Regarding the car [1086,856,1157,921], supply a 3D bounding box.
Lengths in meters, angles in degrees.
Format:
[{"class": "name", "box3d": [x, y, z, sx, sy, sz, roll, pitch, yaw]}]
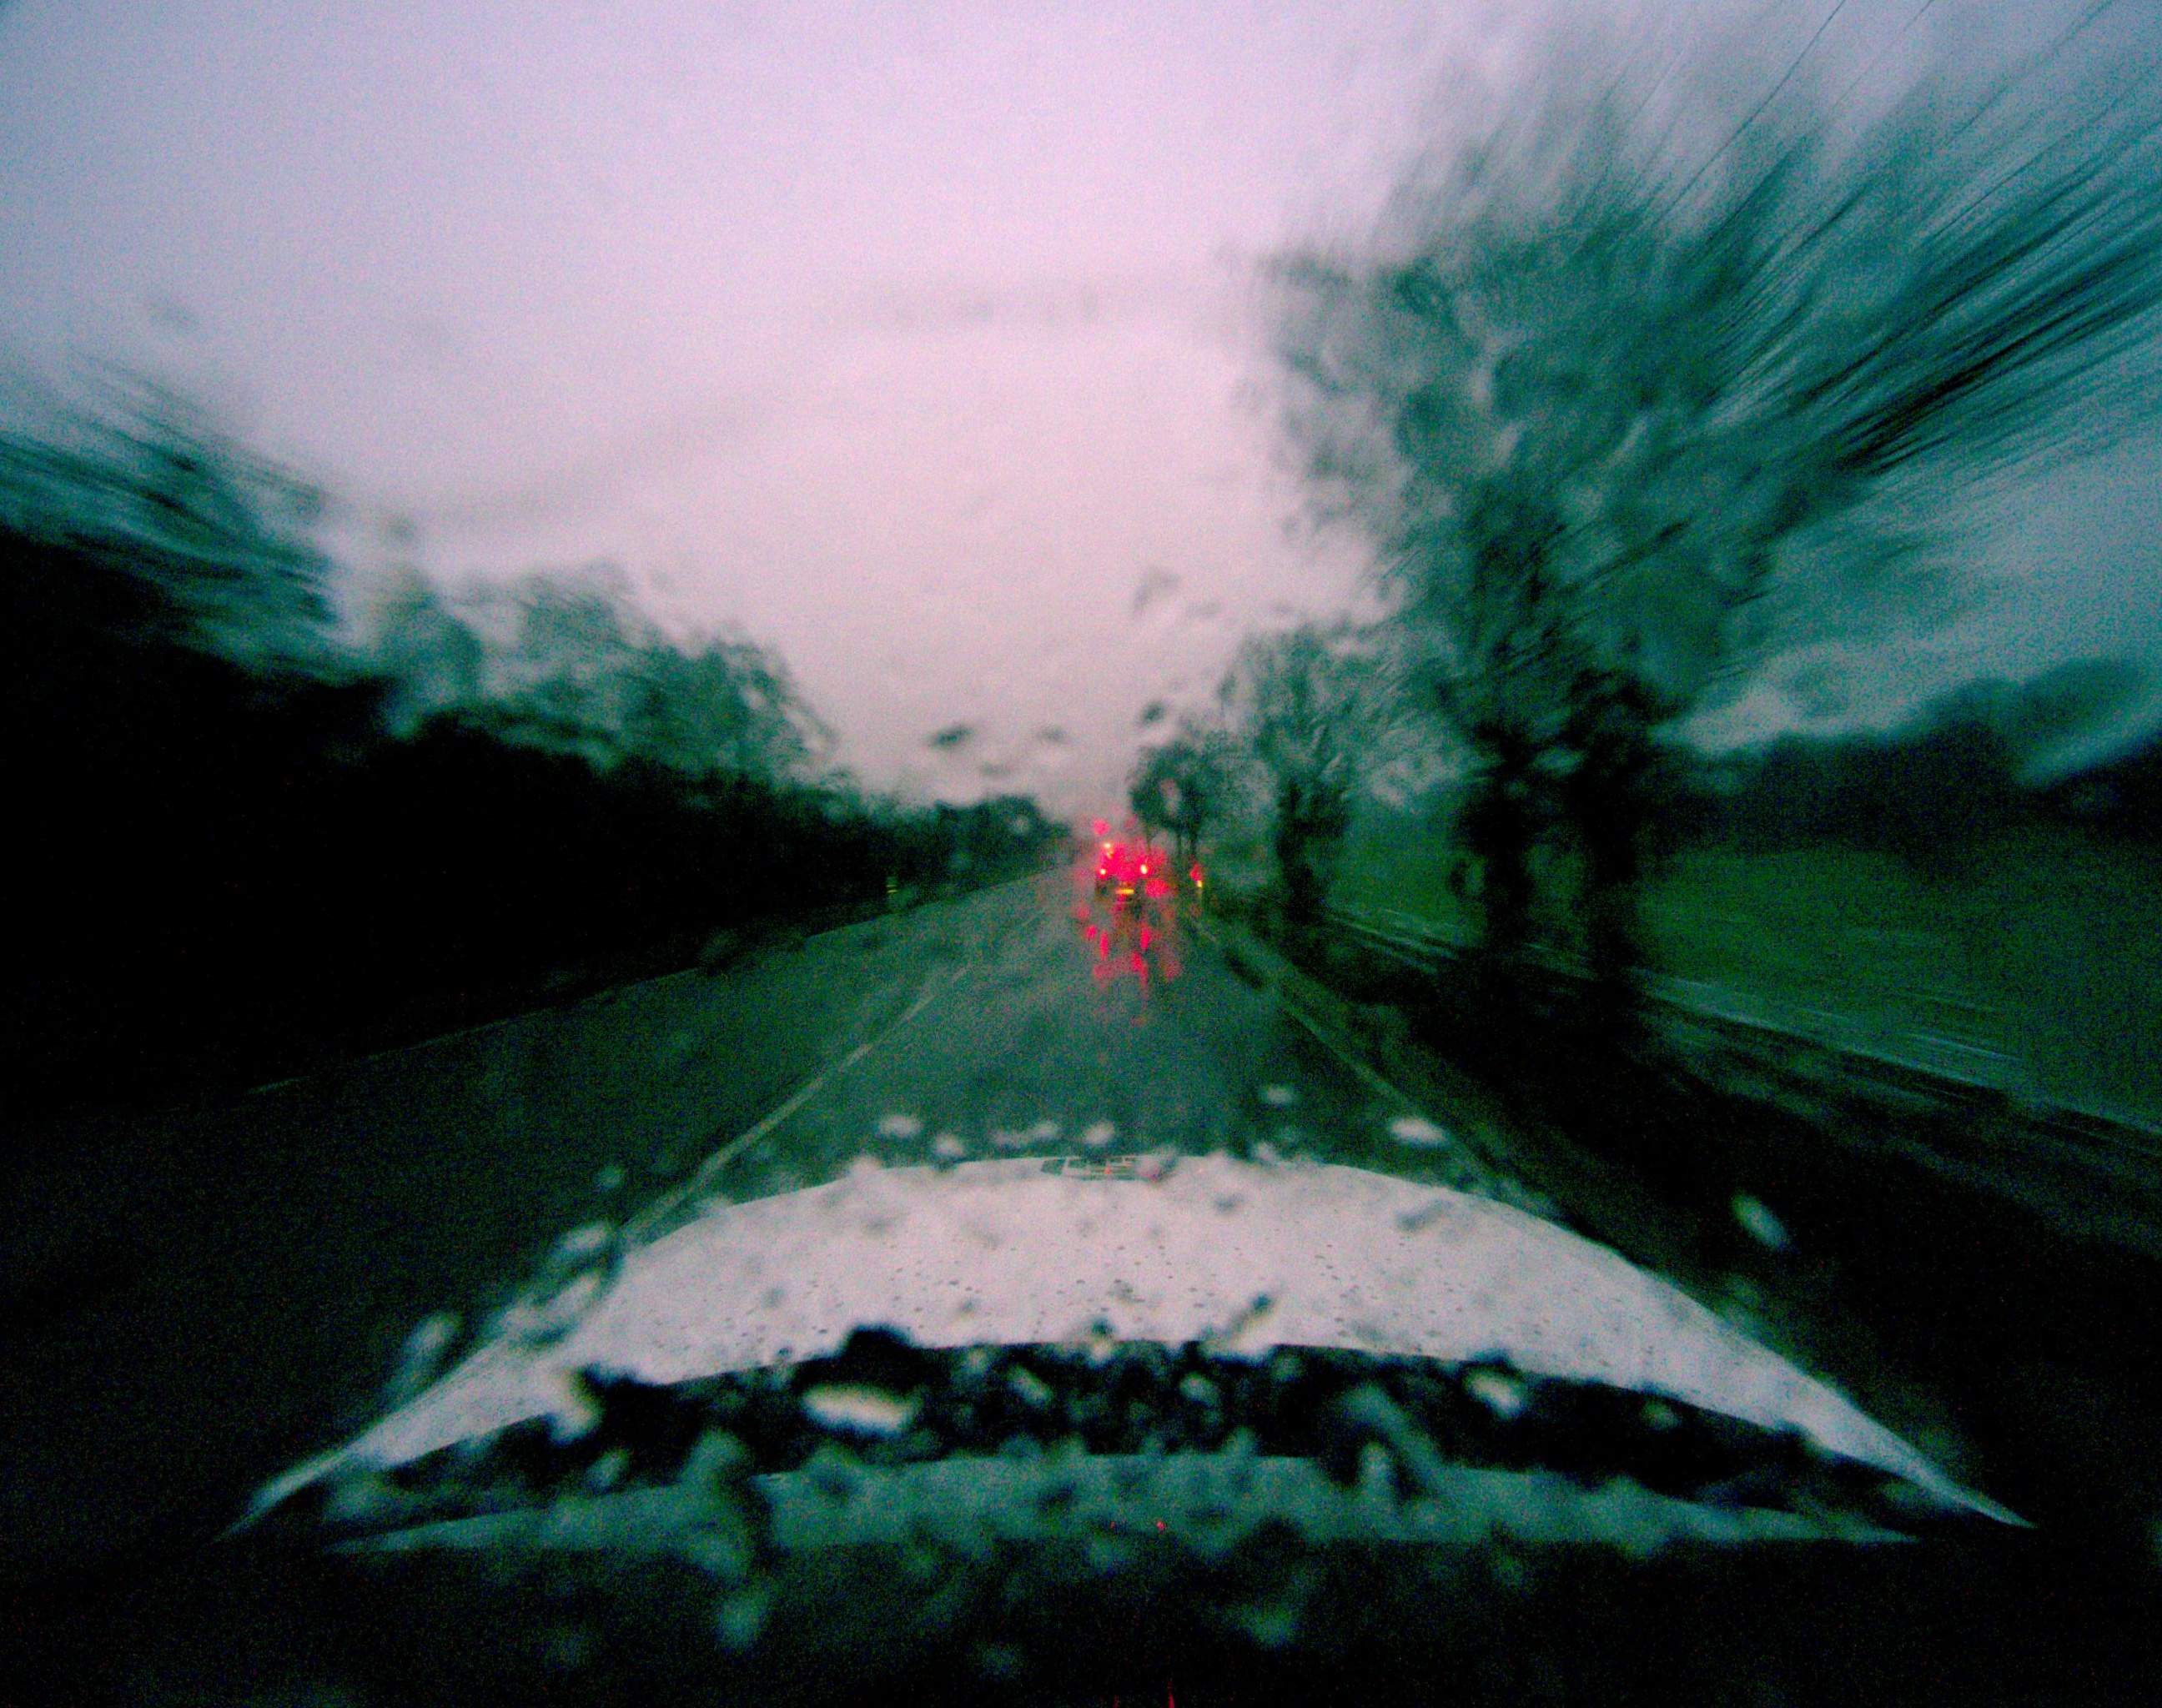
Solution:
[{"class": "car", "box3d": [1.267, 0.993, 25.258, 1.985, 1.752, 4.003, -1, 0, 3]}]

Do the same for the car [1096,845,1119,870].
[{"class": "car", "box3d": [2.671, 0.283, 80.015, 1.985, 2.012, 4.007, 3, 5, 4]}]
